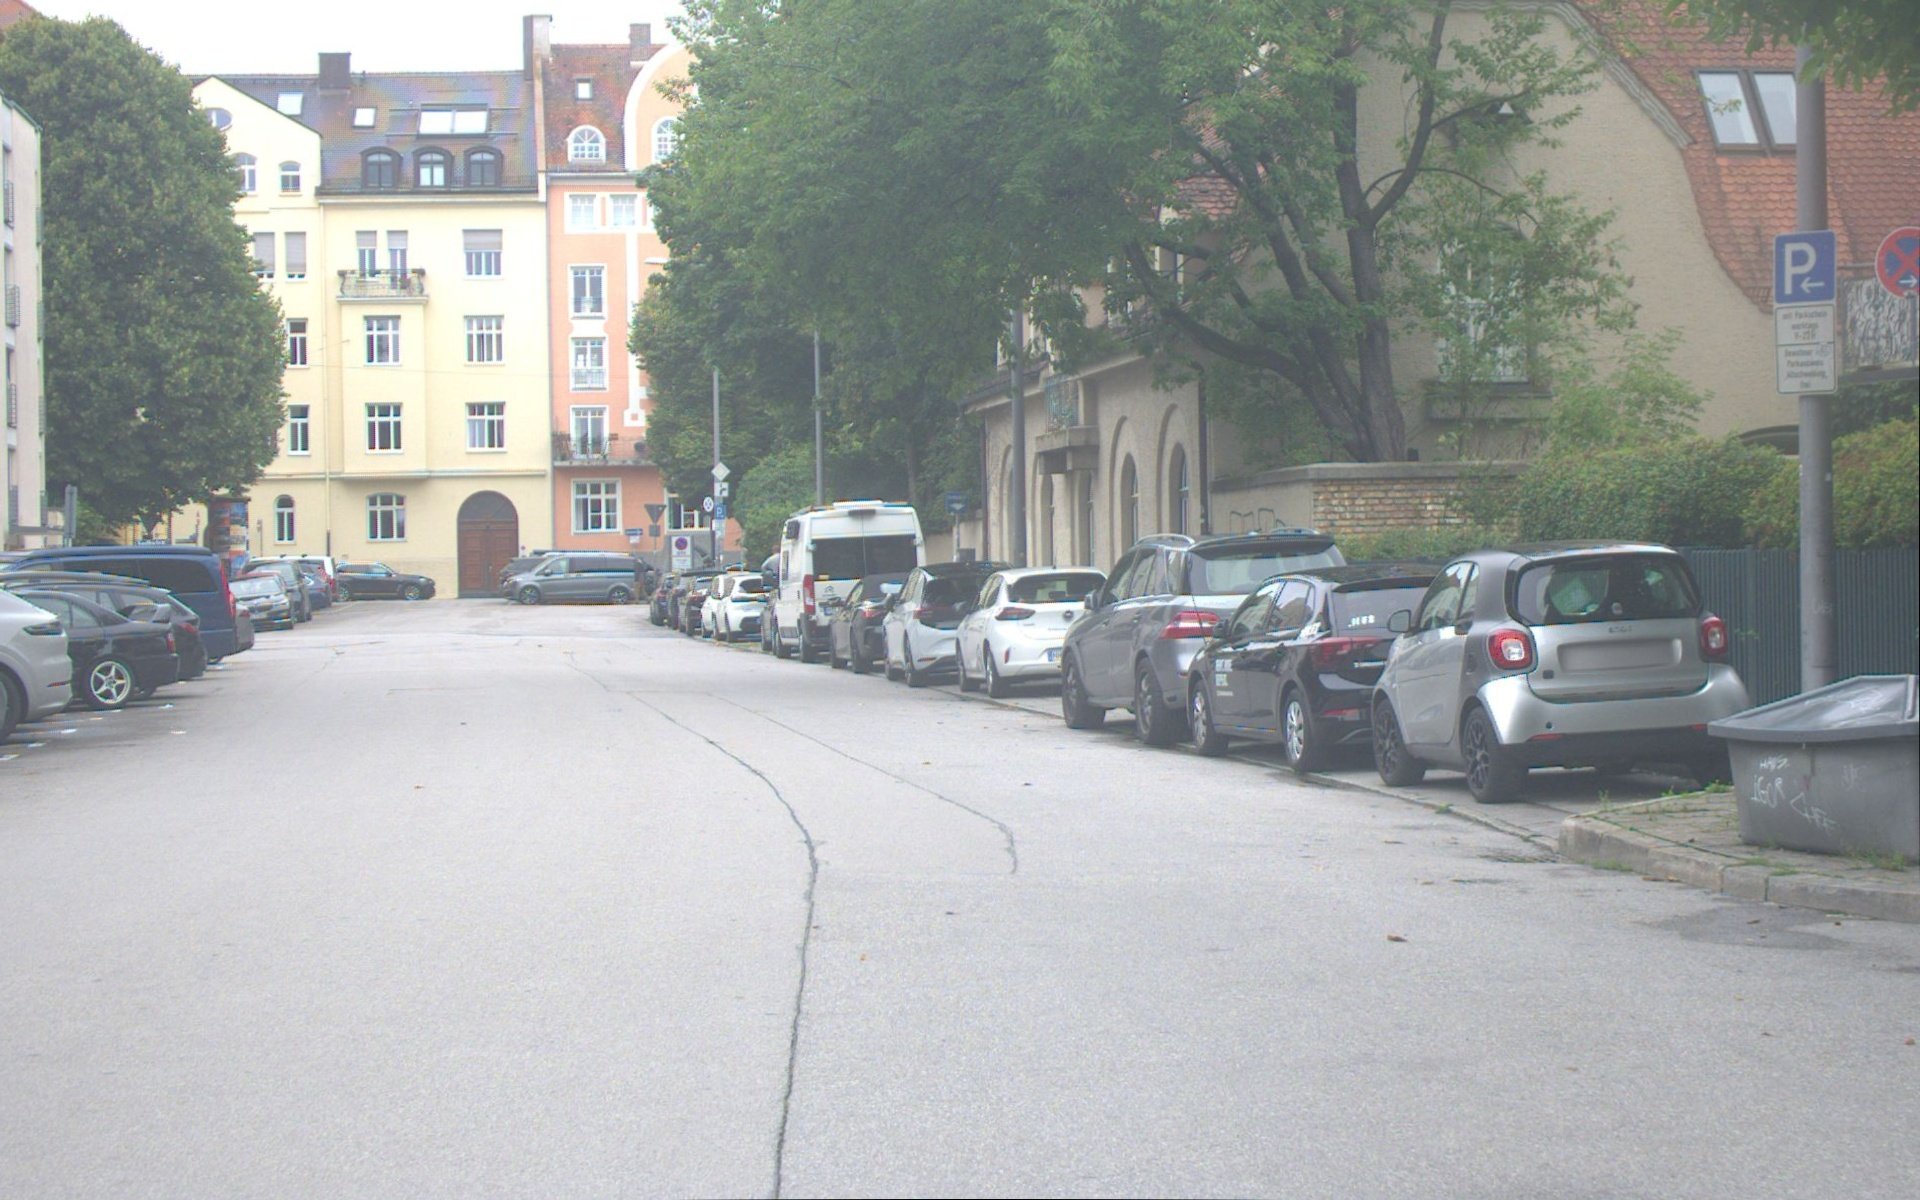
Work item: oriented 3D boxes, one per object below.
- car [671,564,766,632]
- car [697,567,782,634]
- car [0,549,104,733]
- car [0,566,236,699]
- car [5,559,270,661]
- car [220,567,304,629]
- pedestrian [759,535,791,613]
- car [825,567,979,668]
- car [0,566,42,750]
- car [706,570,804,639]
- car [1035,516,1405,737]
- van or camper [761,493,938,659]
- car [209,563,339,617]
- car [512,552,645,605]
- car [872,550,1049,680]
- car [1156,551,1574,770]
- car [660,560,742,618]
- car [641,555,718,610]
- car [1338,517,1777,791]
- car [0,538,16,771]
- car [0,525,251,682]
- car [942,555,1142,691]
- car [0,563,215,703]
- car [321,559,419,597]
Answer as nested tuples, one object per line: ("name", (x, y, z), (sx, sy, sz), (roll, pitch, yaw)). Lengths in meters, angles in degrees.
("car", (-5.977, -0.067, 84.665), (1.802, 1.461, 3.839), (-2, 2, -12))
("car", (-5.185, -0.015, 80.440), (1.707, 1.461, 3.838), (-2, 1, -7))
("car", (-10.142, 0.403, 30.778), (4.398, 1.615, 2.086), (-1, 0, -29))
("car", (-11.064, 0.402, 41.449), (4.204, 1.456, 1.737), (-3, 1, -29))
("car", (-14.367, 0.163, 60.150), (4.108, 1.604, 1.736), (-3, 1, -40))
("car", (-18.537, -0.077, 91.450), (1.834, 1.503, 4.001), (-4, 1, -8))
("pedestrian", (-4.817, -0.671, 89.479), (0.772, 2.007, 0.563), (-1, 0, -8))
("car", (-0.901, 0.225, 50.571), (1.707, 1.364, 4.442), (-2, 1, -8))
("car", (-9.828, 0.519, 27.382), (4.399, 1.486, 2.017), (-2, 0, -39))
("car", (-4.531, 0.075, 75.541), (1.707, 1.403, 4.131), (-2, 1, -9))
("car", (2.168, 0.187, 30.266), (1.993, 1.705, 4.886), (-2, 1, -11))
("van or camper", (-1.916, -0.413, 57.359), (2.192, 2.541, 5.729), (-2, 1, -9))
("car", (-22.577, -0.337, 113.257), (3.986, 1.503, 1.841), (-4, 1, -8))
("car", (-13.821, -0.795, 124.526), (4.702, 1.874, 1.841), (0, 0, -9))
("car", (-0.040, 0.165, 44.838), (1.707, 1.532, 4.241), (-3, 1, -7))
("car", (2.909, 0.391, 25.681), (1.876, 1.422, 4.223), (-2, 1, -11))
("car", (-6.811, -0.311, 90.037), (1.669, 1.339, 3.839), (-2, 2, -11))
("car", (-7.749, -0.508, 94.875), (1.669, 1.339, 3.839), (-2, 2, -11))
("car", (3.670, 0.315, 21.604), (1.738, 1.531, 2.947), (-2, 0, -11))
("car", (-9.260, 0.450, 24.443), (4.400, 1.693, 2.136), (-2, 0, -40))
("car", (-12.447, 0.035, 48.937), (4.205, 2.059, 1.737), (-3, 1, -37))
("car", (0.894, 0.250, 39.776), (1.685, 1.436, 4.001), (-2, 0, -7))
("car", (-10.727, 0.391, 38.689), (4.205, 1.456, 1.737), (-3, 1, -38))
("car", (-24.982, -0.937, 145.748), (3.986, 1.581, 1.704), (-1, 1, -7))
